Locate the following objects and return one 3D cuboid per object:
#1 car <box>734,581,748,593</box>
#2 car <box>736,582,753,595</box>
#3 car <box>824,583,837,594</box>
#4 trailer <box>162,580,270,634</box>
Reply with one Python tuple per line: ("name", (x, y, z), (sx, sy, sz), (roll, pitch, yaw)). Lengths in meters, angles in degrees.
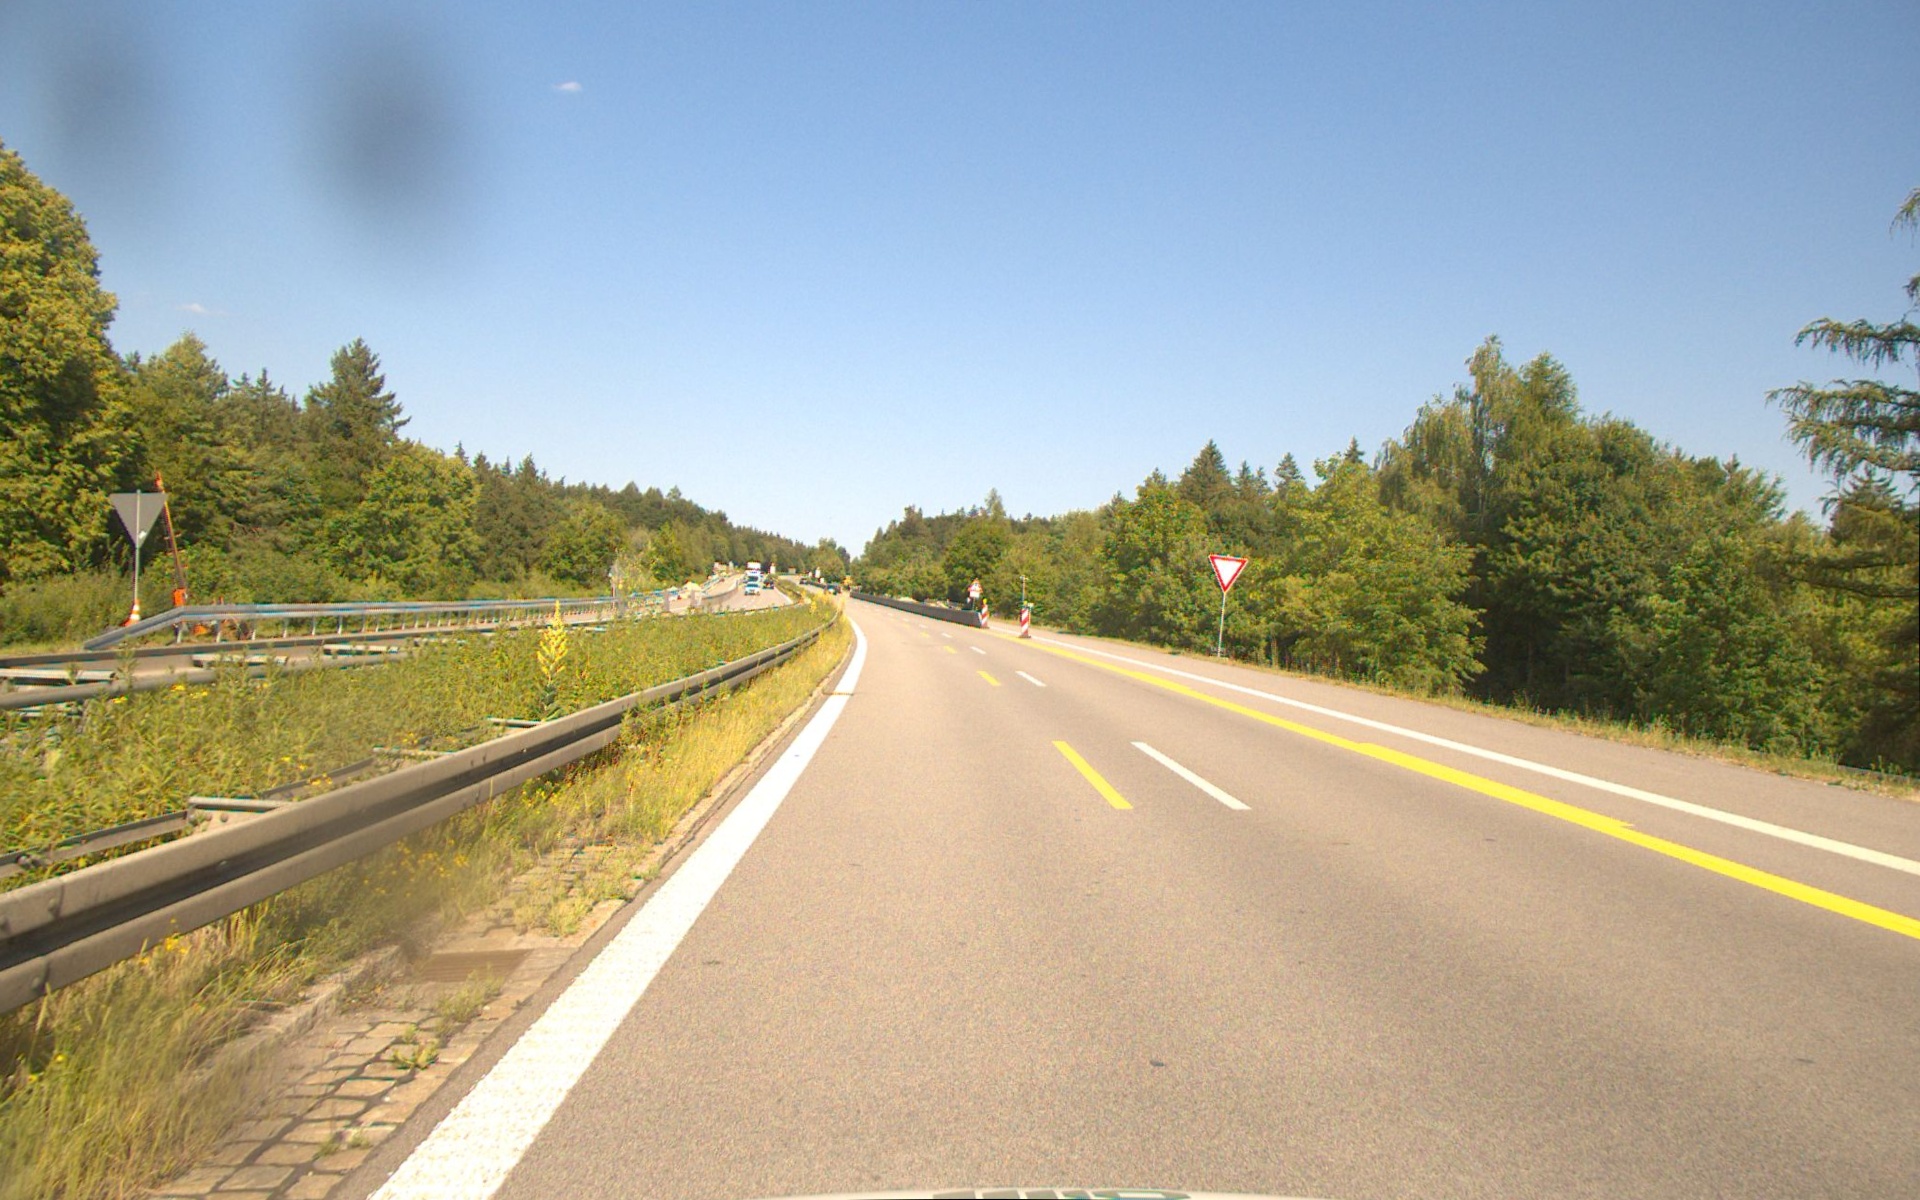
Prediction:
("car", (-28.357, -1.732, 214.193), (1.668, 1.457, 4.949), (1, 1, -6))
("car", (-25.690, -1.424, 197.572), (1.847, 1.457, 4.977), (2, 0, -6))
("car", (-19.307, -1.742, 246.931), (1.711, 1.491, 4.287), (3, 1, -7))
("trailer", (-16.801, 0.147, 37.485), (0.973, 1.071, 3.422), (5, 0, -3))
